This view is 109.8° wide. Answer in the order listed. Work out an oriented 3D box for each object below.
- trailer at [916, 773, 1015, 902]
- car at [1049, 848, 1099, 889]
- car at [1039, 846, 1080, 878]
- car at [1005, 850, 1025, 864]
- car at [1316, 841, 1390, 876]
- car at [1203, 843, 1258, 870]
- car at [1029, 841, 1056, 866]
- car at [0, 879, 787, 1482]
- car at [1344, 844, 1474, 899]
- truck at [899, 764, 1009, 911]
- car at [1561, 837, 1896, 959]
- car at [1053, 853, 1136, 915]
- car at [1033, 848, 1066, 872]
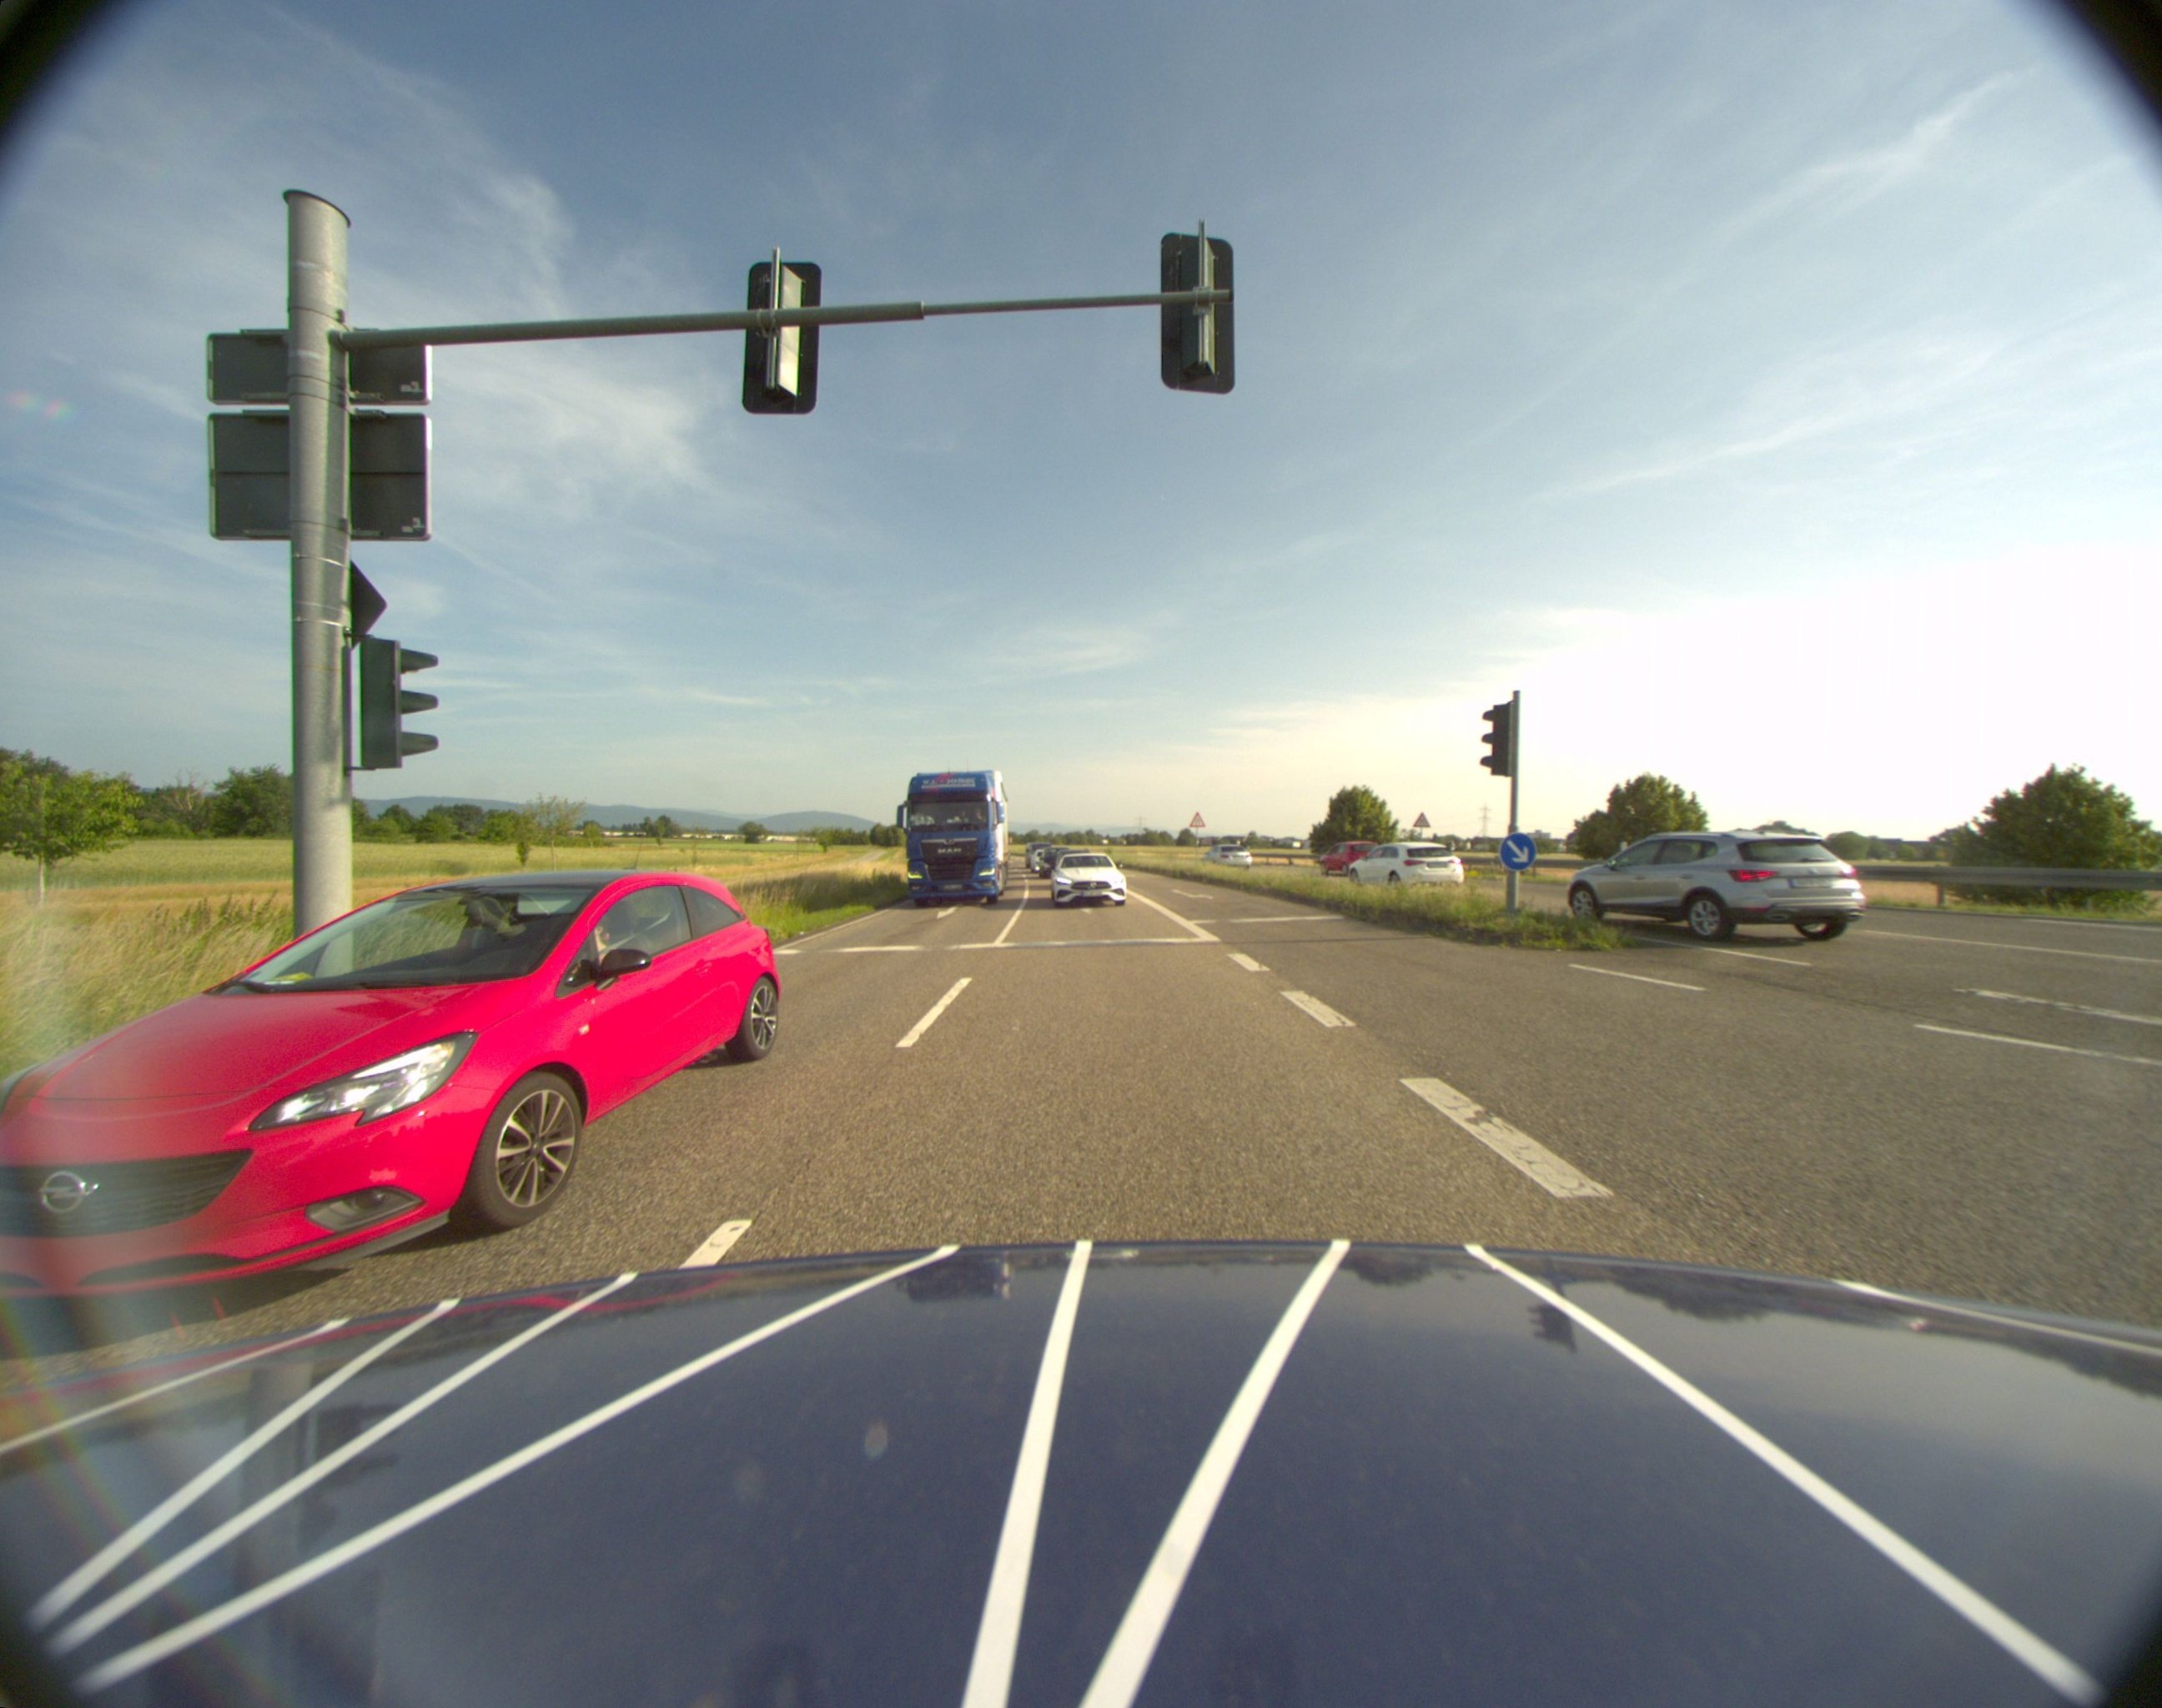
[{"bbox_3d":[-4.198,-0.637,30.721,2.652,3.956,13.923,-2,1,-4],"label":"trailer"},{"bbox_3d":[-0.347,0.528,30.844,1.752,1.521,3.998,-1,1,-4],"label":"car"},{"bbox_3d":[-1.169,0.342,38.900,1.832,1.521,3.997,-1,1,-6],"label":"car"},{"bbox_3d":[-7.861,0.321,89.990,2.000,1.525,3.996,-1,1,-10],"label":"car"},{"bbox_3d":[11.986,0.150,33.770,1.665,1.458,4.020,-1,1,-3],"label":"car"},{"bbox_3d":[8.391,0.102,42.957,1.932,1.427,4.698,-1,1,-3],"label":"car"},{"bbox_3d":[-2.932,-0.059,56.677,1.832,1.831,3.997,-1,1,-6],"label":"car"},{"bbox_3d":[-3.158,0.973,4.047,1.665,1.456,3.953,-1,1,-1],"label":"car"},{"bbox_3d":[9.415,0.434,22.251,1.734,1.405,4.393,-1,1,-3],"label":"car"},{"bbox_3d":[-3.716,-0.487,23.517,2.652,3.897,5.947,-2,1,-4],"label":"truck"},{"bbox_3d":[9.443,0.528,11.618,1.690,1.514,4.091,-1,1,1],"label":"car"},{"bbox_3d":[0.245,0.710,20.118,1.876,1.390,4.202,-1,1,-3],"label":"car"},{"bbox_3d":[-2.004,0.336,46.839,1.695,1.406,3.997,-1,1,-7],"label":"car"}]
